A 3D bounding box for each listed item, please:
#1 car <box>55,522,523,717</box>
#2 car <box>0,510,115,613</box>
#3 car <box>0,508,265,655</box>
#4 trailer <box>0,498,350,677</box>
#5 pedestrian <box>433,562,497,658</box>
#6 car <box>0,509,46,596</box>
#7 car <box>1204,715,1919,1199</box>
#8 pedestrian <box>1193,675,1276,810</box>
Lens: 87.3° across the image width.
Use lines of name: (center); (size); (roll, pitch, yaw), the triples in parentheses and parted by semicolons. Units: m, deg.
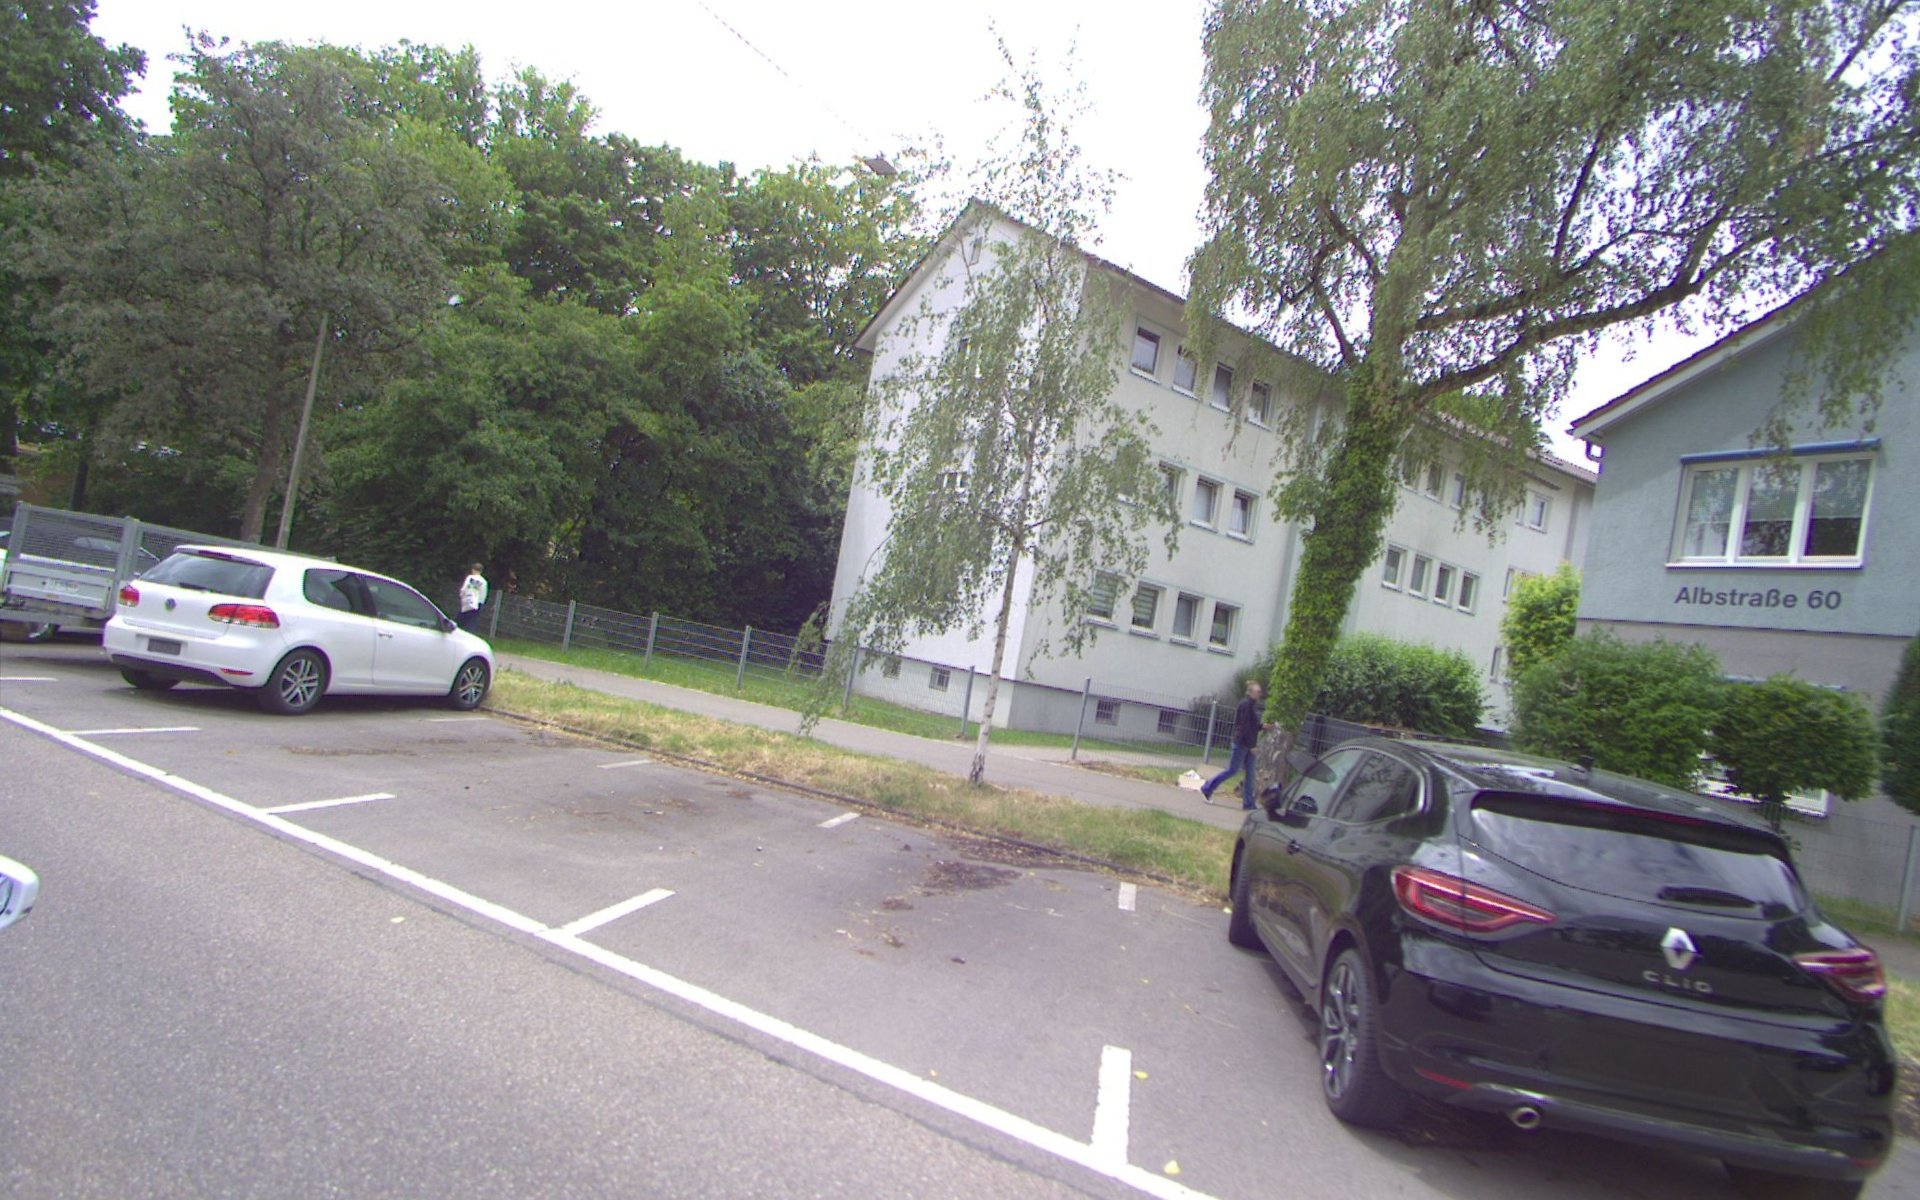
car: (-6.762, 0.345, 10.783); (1.757, 1.479, 4.009); (8, -4, 9)
car: (-15.967, -0.812, 15.682); (1.762, 1.479, 4.009); (8, -4, 6)
car: (-11.230, -0.249, 12.593); (1.816, 1.479, 4.009); (8, -4, 6)
trailer: (-9.028, -0.081, 10.927); (1.627, 1.569, 4.007); (8, -3, 13)
pedestrian: (-9.228, 0.190, 18.754); (0.689, 1.662, 0.769); (10, -2, -40)
car: (-18.292, -1.129, 16.806); (1.830, 1.479, 4.009); (8, -4, 13)
car: (2.384, 1.431, 4.914); (1.683, 1.449, 3.864); (6, -4, 6)
pedestrian: (3.413, 1.756, 12.570); (0.763, 1.521, 0.695); (8, -2, 11)
